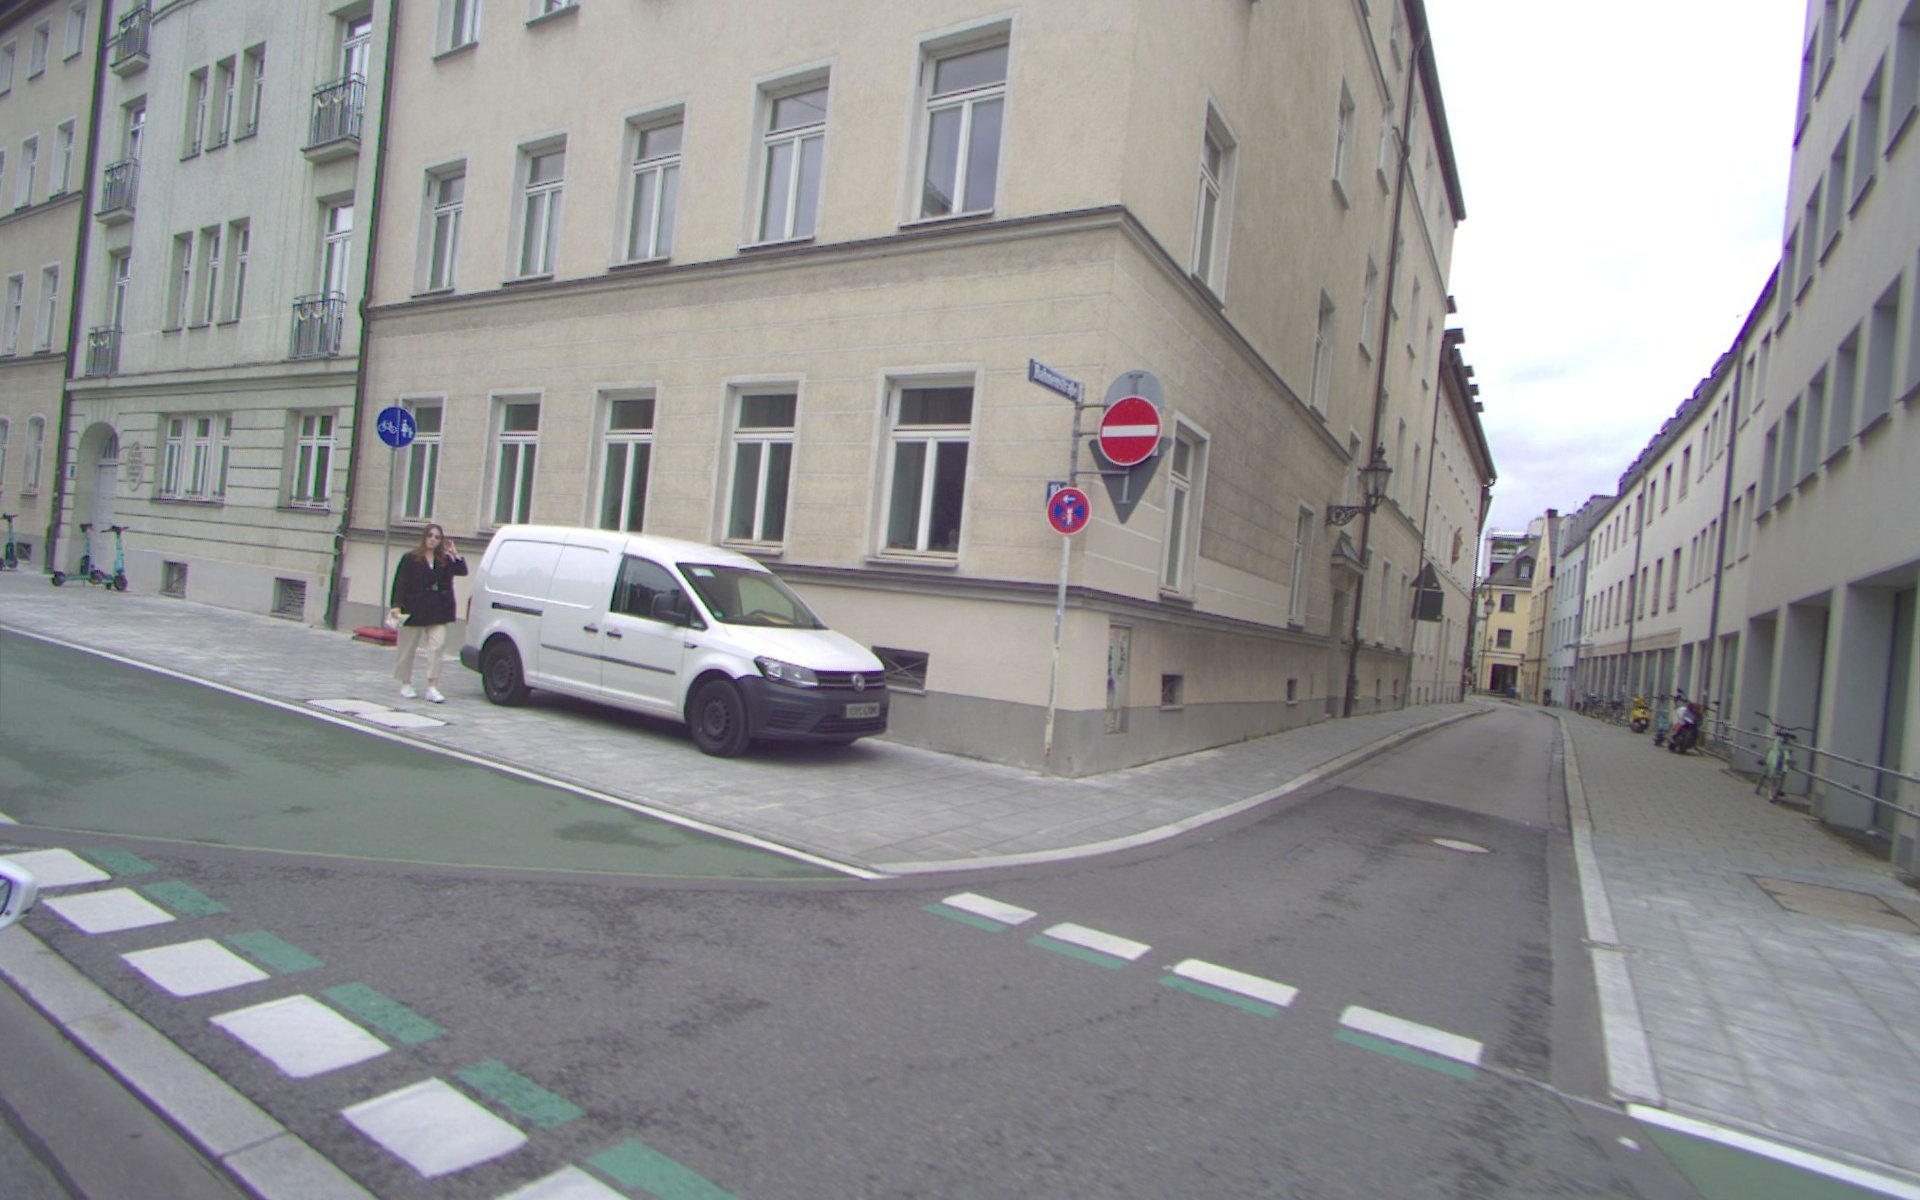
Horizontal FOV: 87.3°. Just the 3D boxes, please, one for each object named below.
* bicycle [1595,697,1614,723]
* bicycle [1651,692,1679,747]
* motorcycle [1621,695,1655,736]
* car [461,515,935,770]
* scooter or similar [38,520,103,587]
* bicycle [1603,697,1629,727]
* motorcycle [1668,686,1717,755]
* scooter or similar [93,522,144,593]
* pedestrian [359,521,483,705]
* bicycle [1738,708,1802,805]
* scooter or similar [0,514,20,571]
[{"bbox_3d":[27.308,4.650,42.628,0.304,1.029,1.775,6,-1,23],"label":"bicycle"},{"bbox_3d":[17.570,2.997,25.066,0.399,1.270,1.771,6,-2,37],"label":"bicycle"},{"bbox_3d":[22.209,3.753,32.980,0.619,1.208,2.538,7,-1,30],"label":"motorcycle"},{"bbox_3d":[-2.604,0.277,9.598,4.362,1.772,1.734,6,1,32],"label":"car"},{"bbox_3d":[-17.365,-0.893,19.660,0.242,1.247,1.119,4,1,-1],"label":"scooter or similar"},{"bbox_3d":[25.447,4.328,39.031,0.397,1.029,1.776,6,-1,22],"label":"bicycle"},{"bbox_3d":[16.648,2.714,22.834,0.718,1.397,2.696,7,-1,38],"label":"motorcycle"},{"bbox_3d":[-16.305,-0.823,19.489,1.101,1.289,0.387,5,2,31],"label":"scooter or similar"},{"bbox_3d":[-5.184,0.126,9.678,0.725,1.657,0.665,6,1,31],"label":"pedestrian"},{"bbox_3d":[11.305,2.143,14.076,0.304,1.221,1.773,6,-1,30],"label":"bicycle"},{"bbox_3d":[-21.346,-1.287,22.489,0.244,1.247,1.110,3,2,-32],"label":"scooter or similar"}]
